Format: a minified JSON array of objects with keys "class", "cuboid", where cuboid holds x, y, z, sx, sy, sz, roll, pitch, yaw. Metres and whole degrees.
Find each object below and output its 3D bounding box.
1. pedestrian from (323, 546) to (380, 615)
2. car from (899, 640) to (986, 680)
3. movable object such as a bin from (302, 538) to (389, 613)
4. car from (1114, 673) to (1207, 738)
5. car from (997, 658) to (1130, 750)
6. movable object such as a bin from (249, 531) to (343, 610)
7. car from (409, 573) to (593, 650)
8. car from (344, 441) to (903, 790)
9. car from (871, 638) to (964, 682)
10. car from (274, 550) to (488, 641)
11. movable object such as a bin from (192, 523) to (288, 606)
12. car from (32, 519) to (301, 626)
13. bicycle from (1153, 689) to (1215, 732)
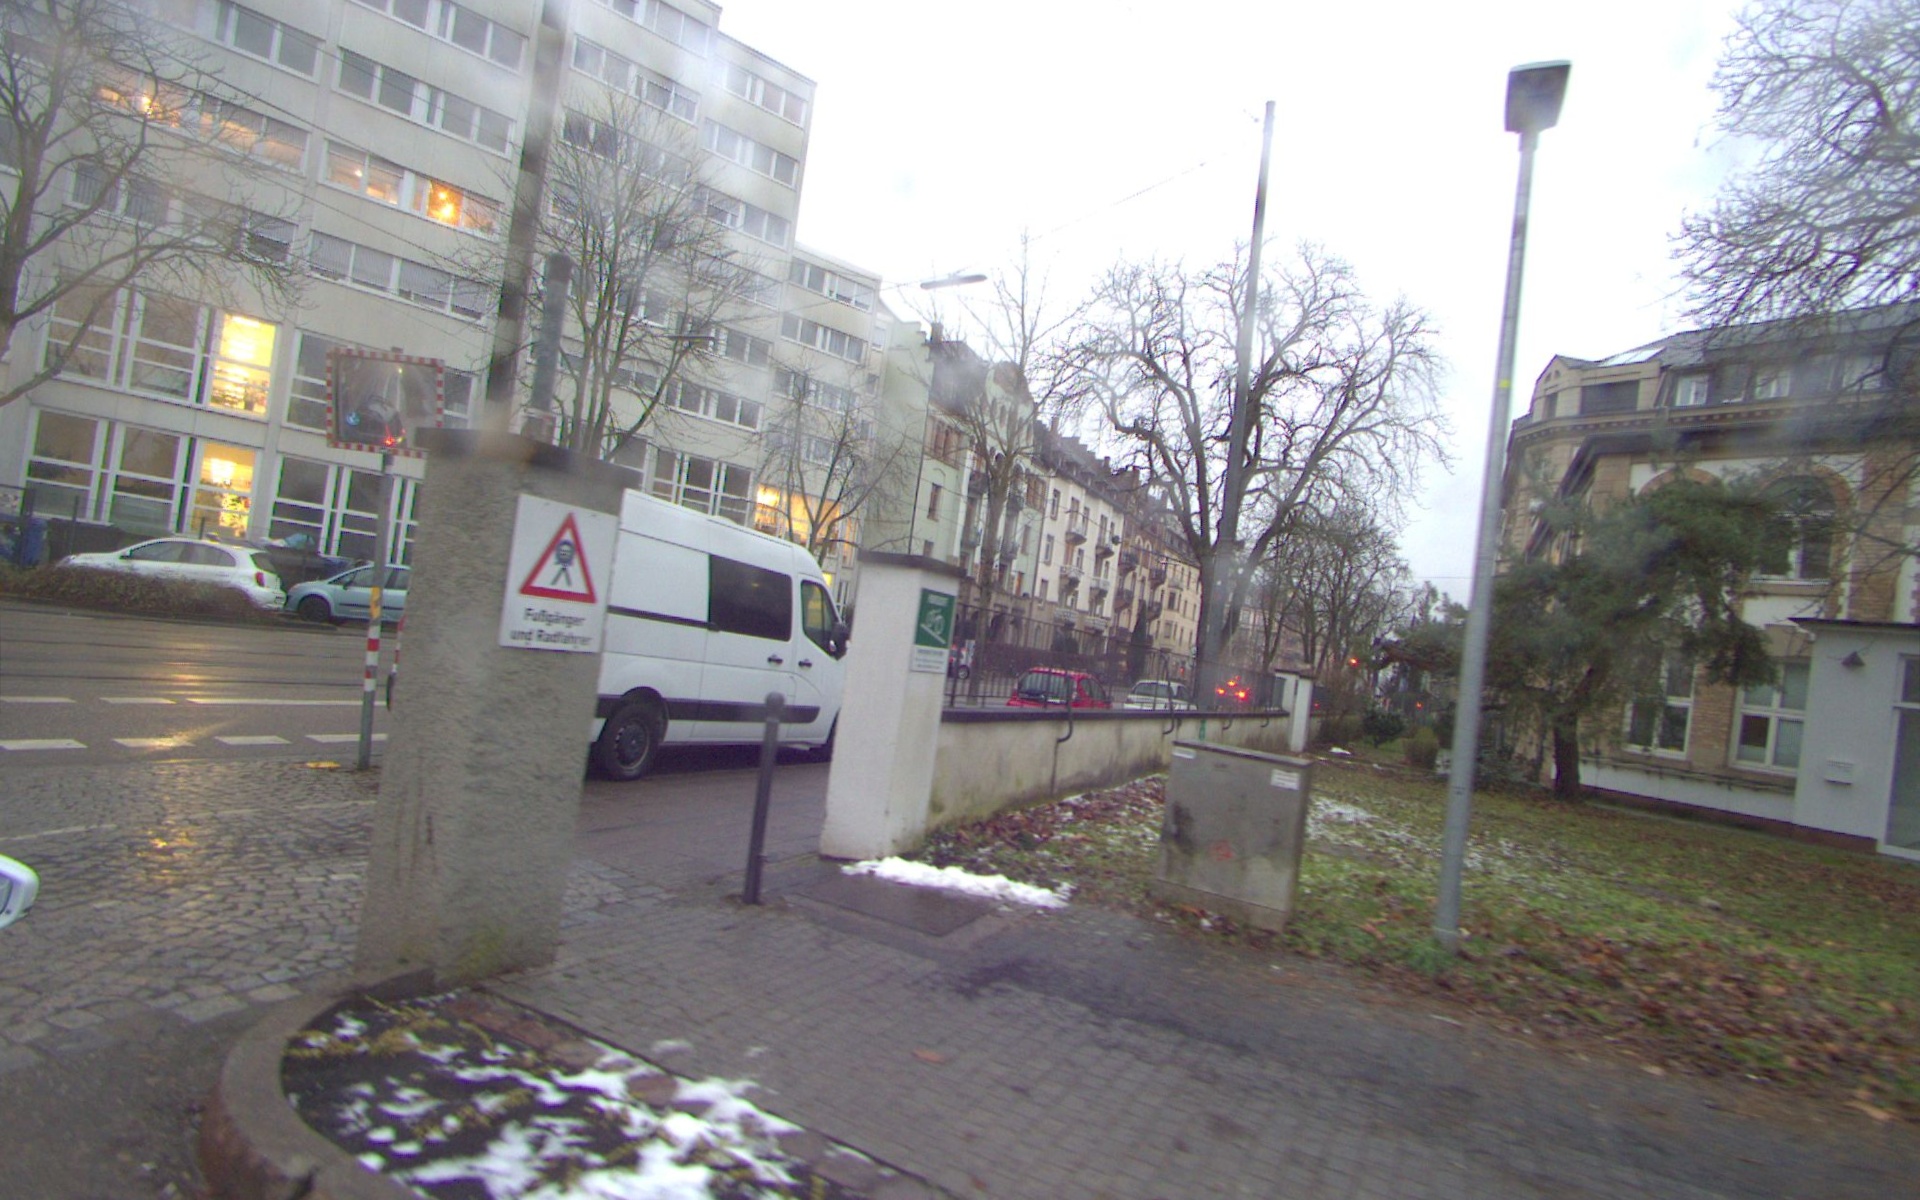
[{"class":"pedestrian","cuboid":[-16.352,-0.515,27.039,0.588,1.696,0.973,7,-1,26]},{"class":"car","cuboid":[-0.891,2.989,50.423,3.940,1.444,1.843,8,-2,-17]},{"class":"movable object such as a bin","cuboid":[-17.363,-0.681,28.436,1.547,1.882,1.316,7,0,27]},{"class":"car","cuboid":[5.823,3.008,28.907,1.667,1.537,3.638,7,-2,25]},{"class":"car","cuboid":[2.273,2.167,21.276,1.618,1.541,3.573,8,-2,24]},{"class":"movable object such as a bin","cuboid":[-17.974,-0.783,27.234,1.547,1.882,1.392,7,0,27]},{"class":"car","cuboid":[-12.034,0.340,26.579,3.931,1.459,1.737,8,-3,-7]},{"class":"car","cuboid":[-2.873,0.336,10.340,2.092,2.514,5.443,7,-3,24]},{"class":"car","cuboid":[-2.011,2.851,47.839,3.944,1.487,1.825,9,-2,-19]},{"class":"car","cuboid":[-13.633,-0.077,23.949,3.939,1.581,1.732,8,-2,-16]},{"class":"movable object such as a bin","cuboid":[-18.584,-0.911,25.982,1.547,1.882,1.316,7,0,27]},{"class":"car","cuboid":[-16.031,-0.512,20.557,3.821,1.569,1.687,8,-2,-19]},{"class":"bicycle","cuboid":[7.034,3.463,31.571,1.688,1.083,0.663,6,-1,27]}]
